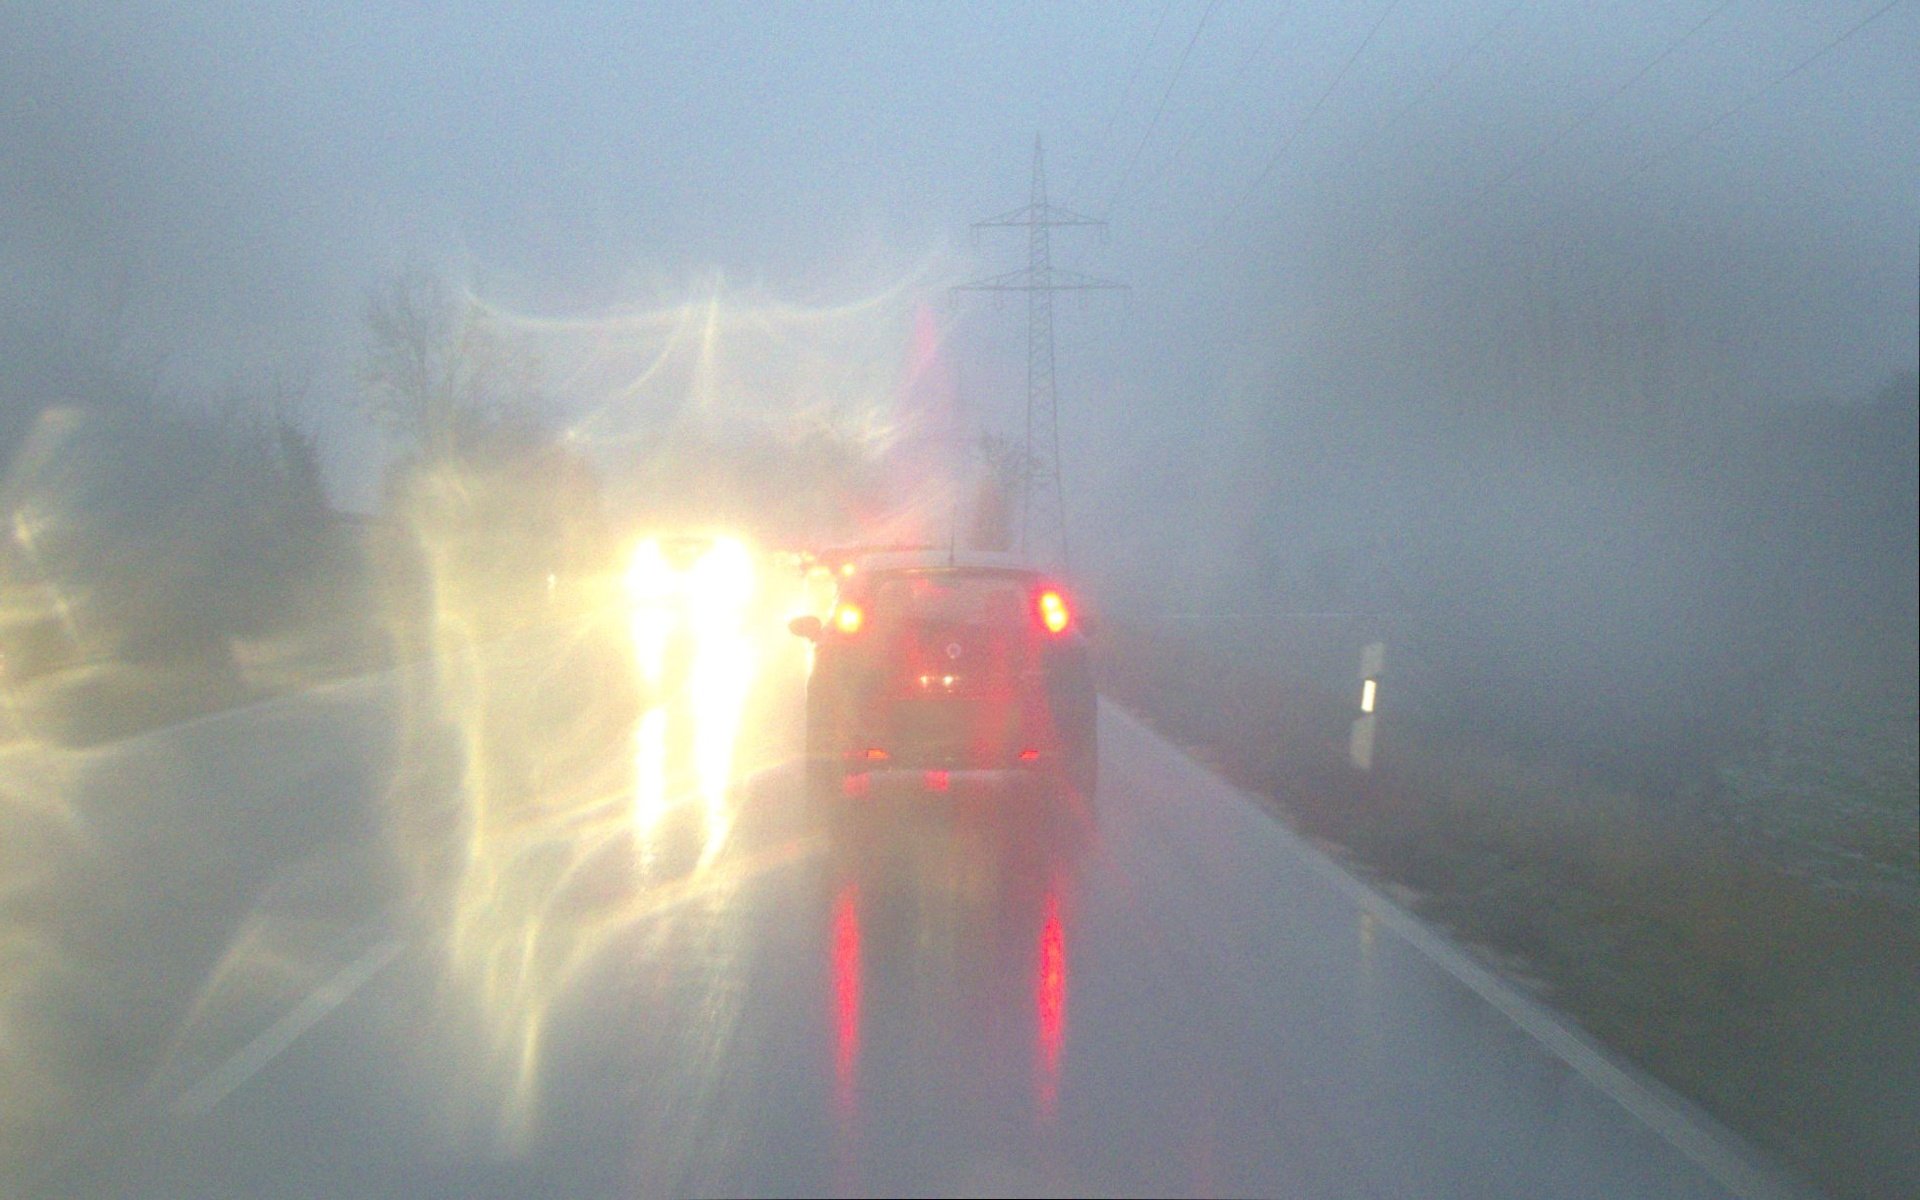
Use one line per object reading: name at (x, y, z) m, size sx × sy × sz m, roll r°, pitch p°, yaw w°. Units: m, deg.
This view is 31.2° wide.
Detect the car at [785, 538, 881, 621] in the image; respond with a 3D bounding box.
car at (-2.585, -0.439, 69.194) m, size 1.769 × 1.585 × 4.165 m, roll 0°, pitch 1°, yaw -4°

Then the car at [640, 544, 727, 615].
car at (-6.460, -0.493, 80.621) m, size 1.769 × 1.585 × 4.164 m, roll 0°, pitch 1°, yaw -1°

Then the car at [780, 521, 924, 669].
car at (-1.581, -0.093, 48.986) m, size 1.852 × 2.007 × 4.001 m, roll 0°, pitch 1°, yaw -4°

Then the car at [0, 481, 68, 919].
car at (-4.381, 0.386, 11.811) m, size 1.672 × 1.625 × 3.976 m, roll 0°, pitch 1°, yaw -1°

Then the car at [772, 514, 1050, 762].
car at (-0.364, 0.198, 21.079) m, size 1.500 × 1.393 × 3.200 m, roll 0°, pitch 1°, yaw -4°

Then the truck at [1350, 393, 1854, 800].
truck at (5.175, -0.073, 29.233) m, size 2.533 × 2.968 × 7.858 m, roll 1°, pitch 1°, yaw -2°
